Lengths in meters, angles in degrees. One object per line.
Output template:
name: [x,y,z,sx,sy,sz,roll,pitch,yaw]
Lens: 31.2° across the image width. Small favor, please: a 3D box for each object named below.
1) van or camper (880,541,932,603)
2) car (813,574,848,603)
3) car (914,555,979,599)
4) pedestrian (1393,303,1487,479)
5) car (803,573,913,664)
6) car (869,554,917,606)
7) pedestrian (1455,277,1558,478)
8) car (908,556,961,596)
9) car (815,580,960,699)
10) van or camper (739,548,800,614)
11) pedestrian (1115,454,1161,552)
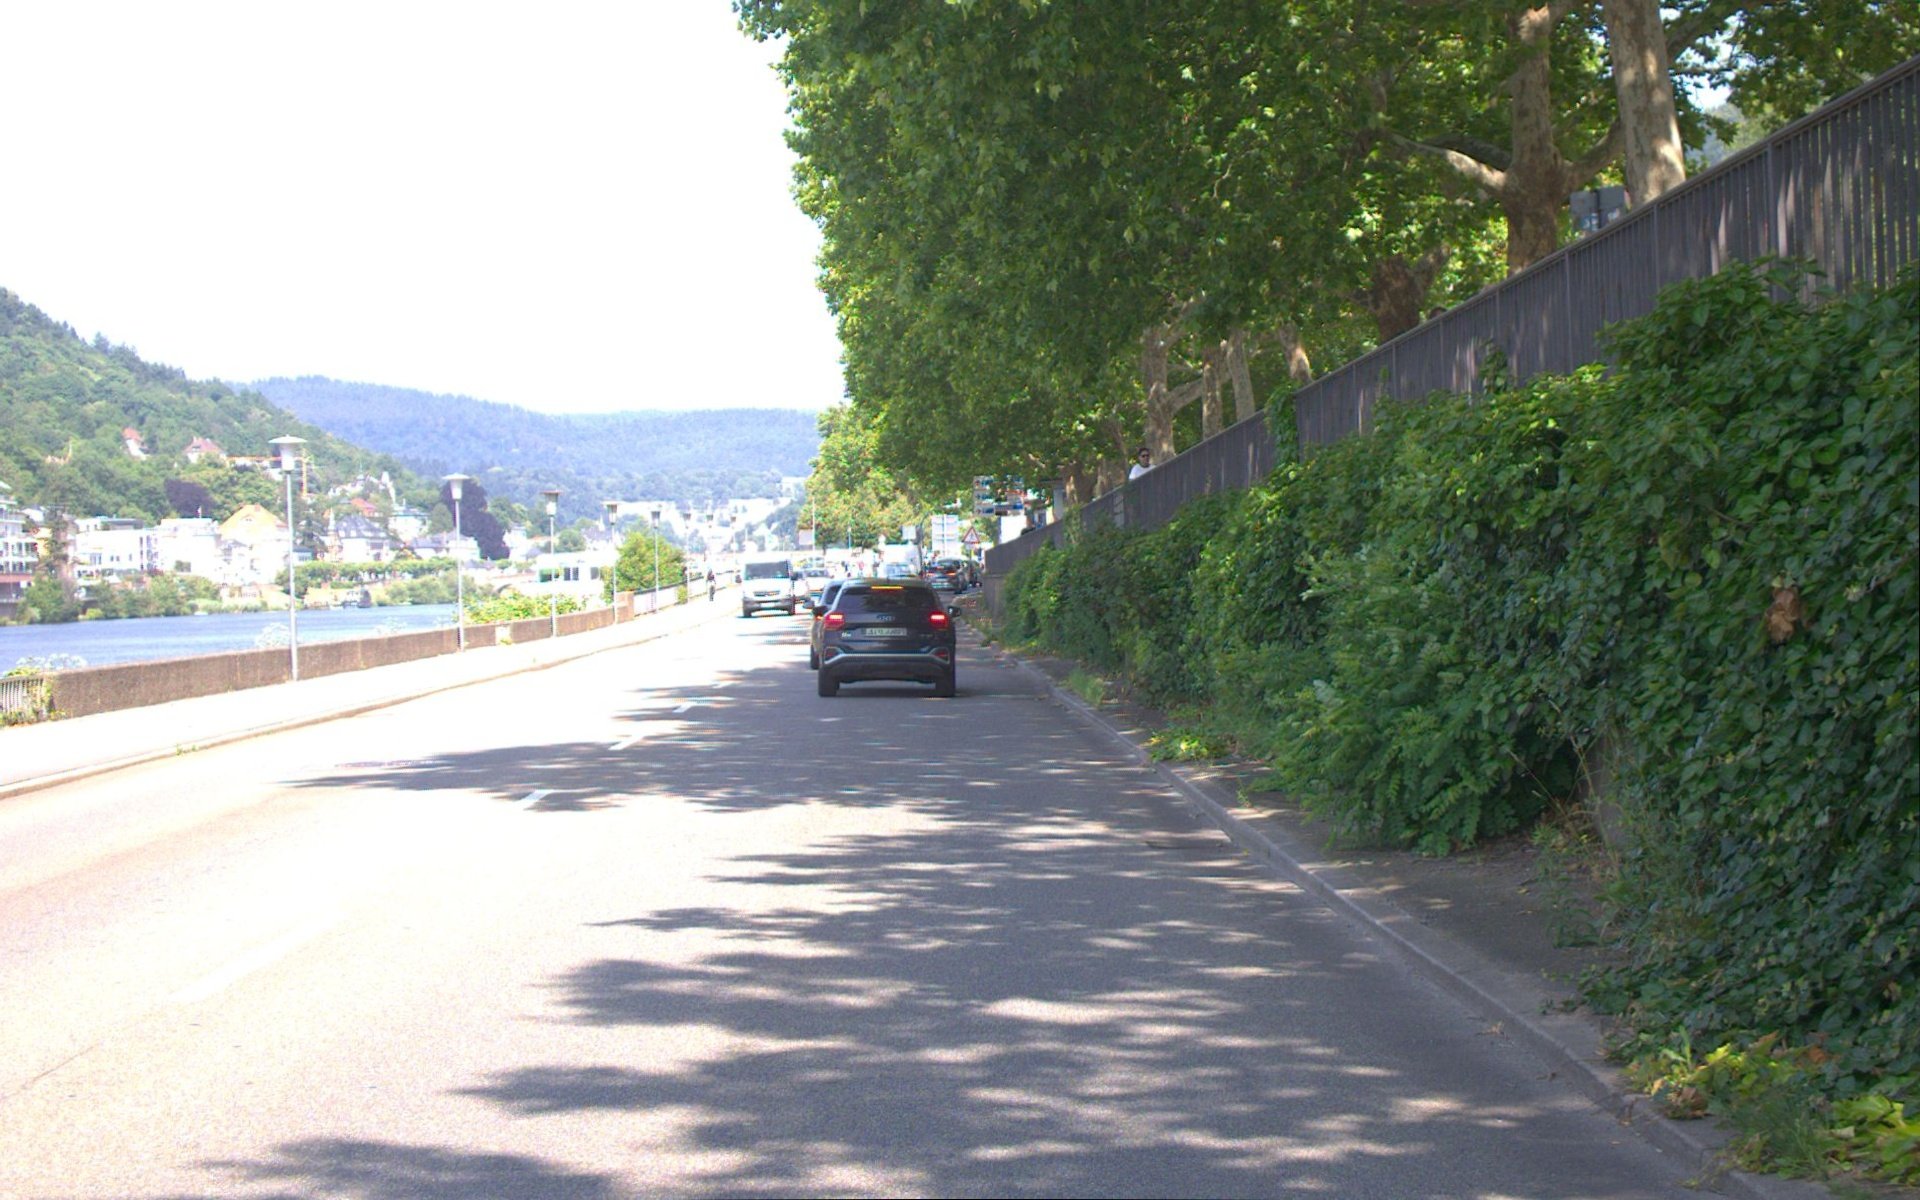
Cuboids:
van or camper: [-2.576,-1.343,163.962,2.310,2.837,4.246,-2,0,0]
car: [-6.733,-0.616,179.305,1.731,1.437,4.045,-3,0,-2]
car: [-0.723,-1.197,176.858,3.098,2.007,5.825,-4,1,-2]
pedestrian: [3.969,-1.723,28.466,0.584,1.414,0.589,-2,0,-9]
car: [-1.757,0.299,59.359,1.828,1.506,4.000,0,0,-2]
car: [-2.941,-0.878,150.716,1.993,2.162,4.000,-2,0,-2]
pedestrian: [4.579,-1.859,28.806,0.646,1.634,0.627,-2,0,-9]
car: [-1.413,-1.308,188.538,2.661,2.007,5.825,-4,1,-2]
car: [-0.977,0.491,45.339,1.828,1.481,4.000,0,0,-2]
van or camper: [-7.341,-0.728,132.743,2.077,2.390,5.385,-3,0,-1]
pedestrian: [2.939,-1.599,56.708,0.664,1.586,0.651,-2,0,-1]
